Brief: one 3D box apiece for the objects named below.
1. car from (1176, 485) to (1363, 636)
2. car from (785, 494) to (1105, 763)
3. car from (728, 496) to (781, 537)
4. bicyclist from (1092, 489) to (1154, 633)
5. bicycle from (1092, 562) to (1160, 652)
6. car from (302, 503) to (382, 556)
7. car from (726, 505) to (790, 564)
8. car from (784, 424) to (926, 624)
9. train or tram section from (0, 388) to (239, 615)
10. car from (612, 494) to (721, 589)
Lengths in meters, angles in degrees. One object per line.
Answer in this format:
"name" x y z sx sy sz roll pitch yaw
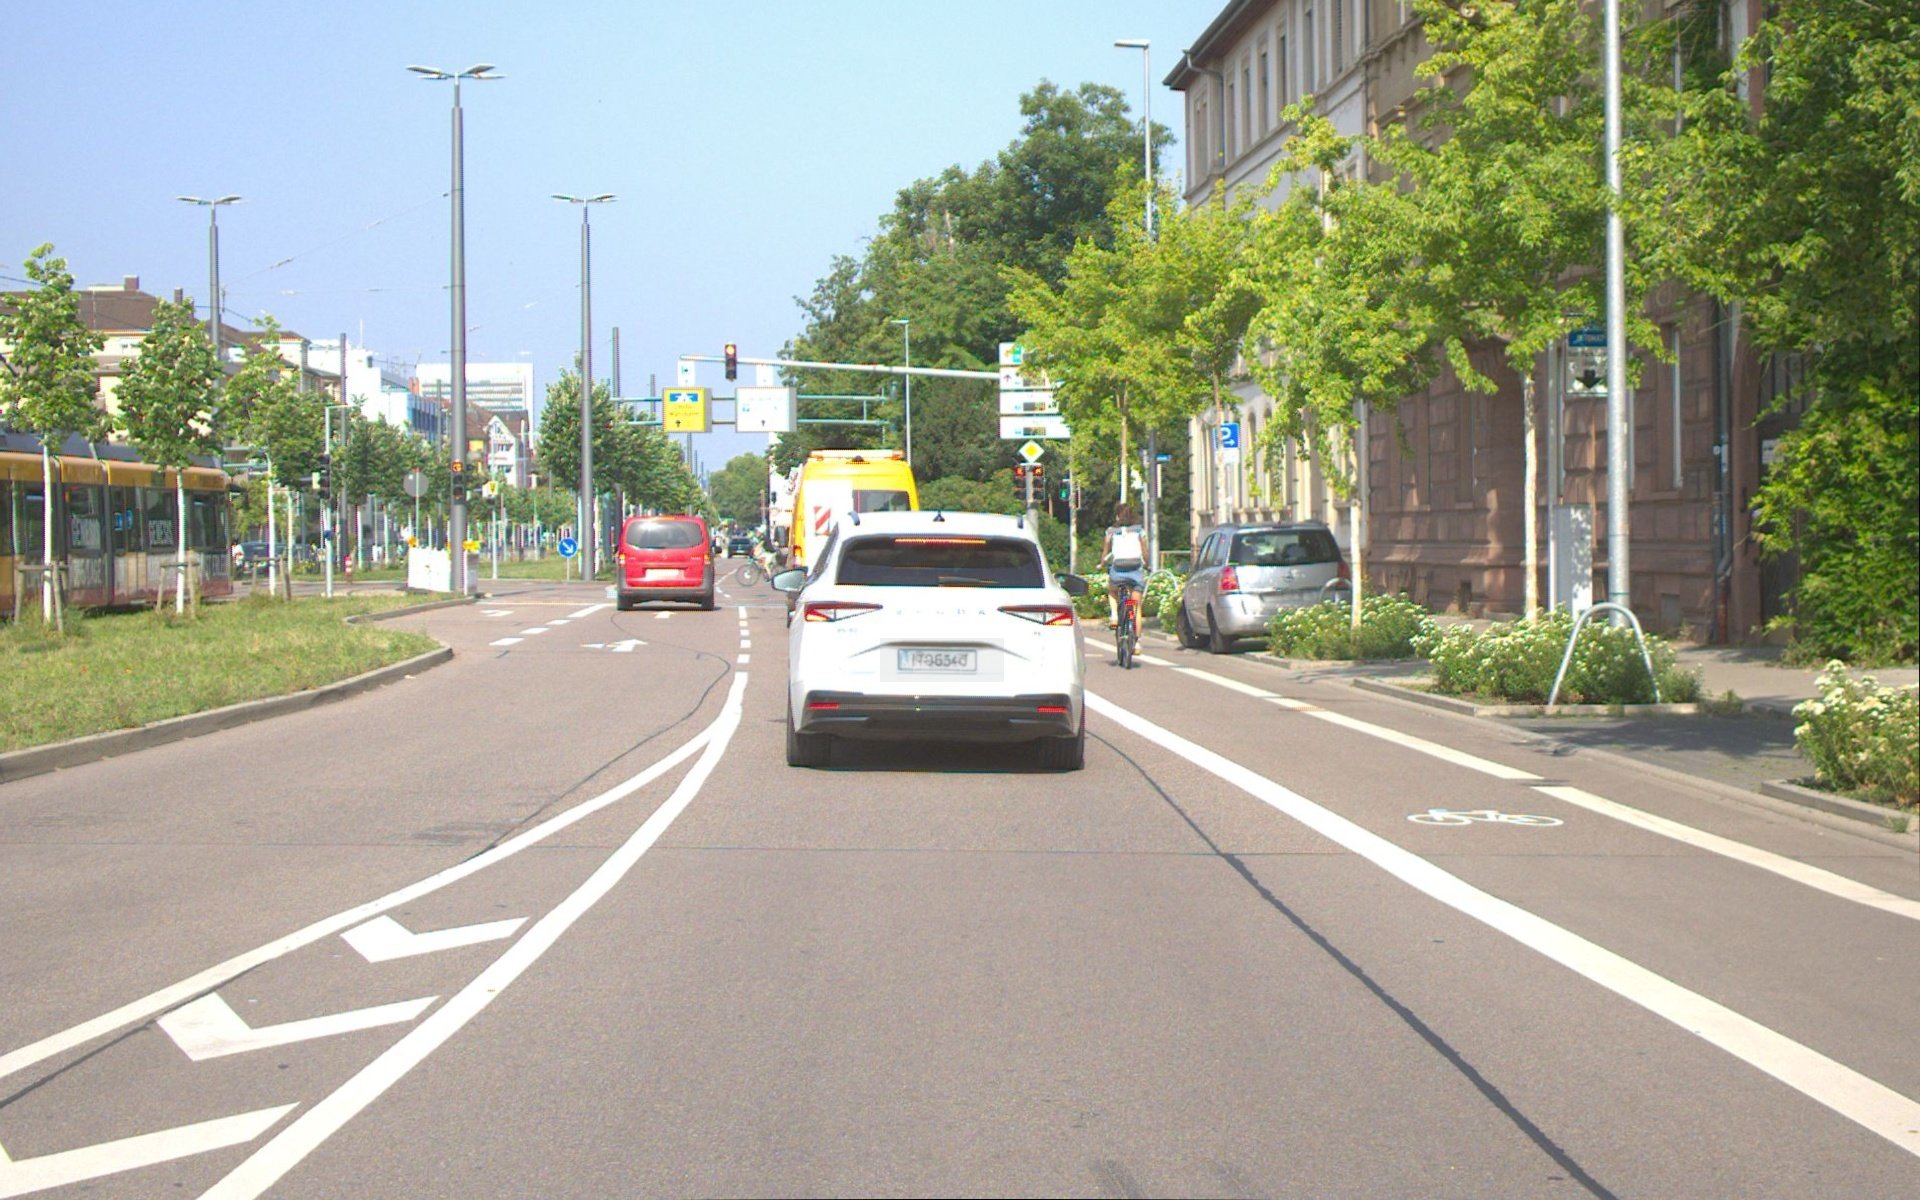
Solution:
"car" 3.846 -0.541 43.278 1.812 1.806 3.836 0 2 -3
"car" -0.174 0.106 22.241 1.869 1.569 4.001 -1 2 -2
"car" -7.932 -3.240 133.142 1.930 1.557 4.001 0 2 -2
"bicyclist" 1.801 -0.442 37.943 0.639 1.571 0.771 0 2 0
"bicycle" 1.812 0.068 37.754 0.655 0.935 1.517 0 2 -1
"car" -19.352 -2.214 107.757 1.816 1.616 4.000 0 2 -1
"car" -6.440 -2.113 110.024 1.930 1.815 4.001 0 2 -2
"car" -1.626 -1.228 52.076 2.020 2.786 5.402 -1 4 -2
"train or tram section" -17.078 -1.821 65.059 2.906 3.694 18.291 1 1 0
"car" -5.785 -1.188 68.175 1.930 1.815 4.001 0 2 -2
